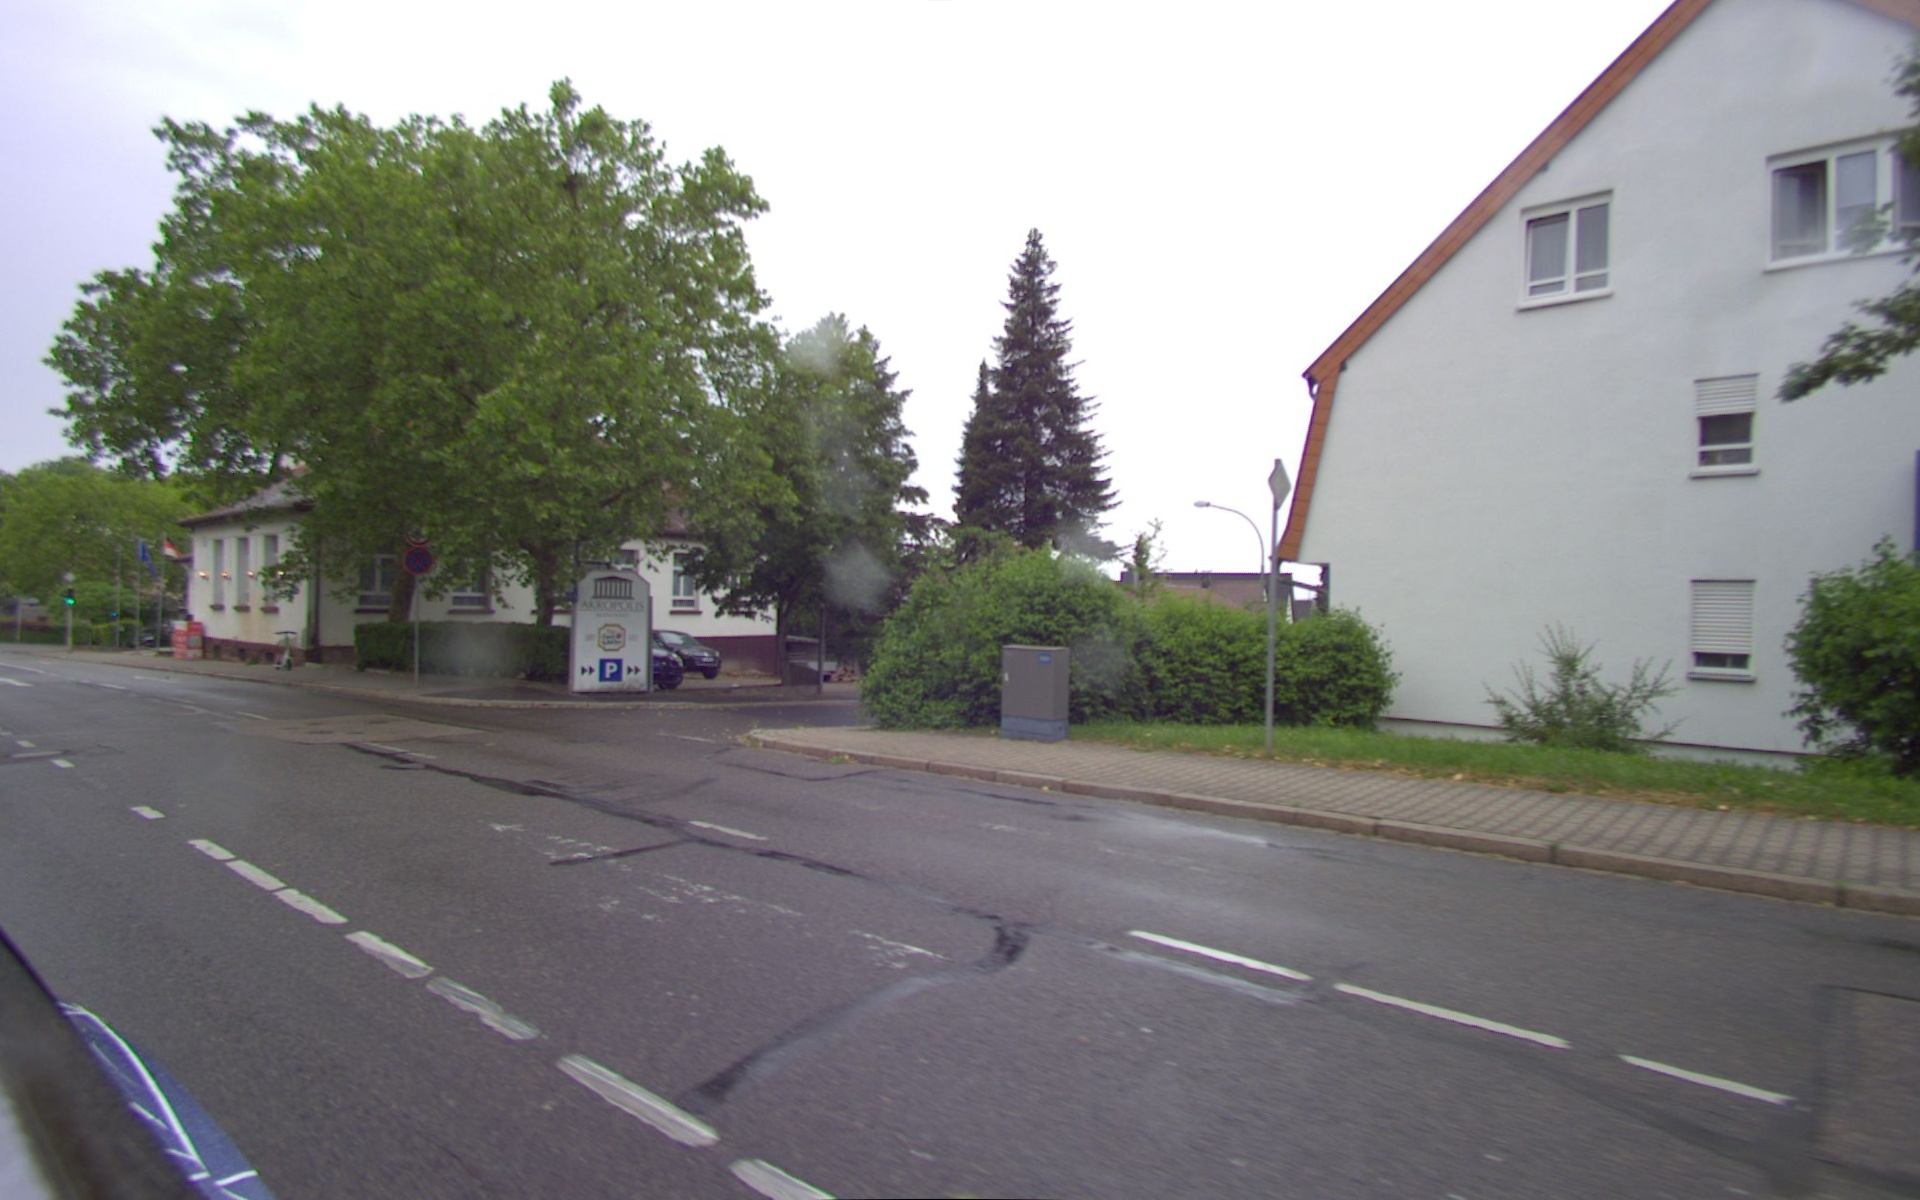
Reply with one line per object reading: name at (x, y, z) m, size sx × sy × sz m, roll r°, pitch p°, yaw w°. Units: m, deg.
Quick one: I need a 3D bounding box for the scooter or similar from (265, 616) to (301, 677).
scooter or similar at (-20.213, 1.364, 30.201) m, size 1.510 × 1.788 × 0.397 m, roll 0°, pitch -1°, yaw 36°

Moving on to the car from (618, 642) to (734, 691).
car at (-10.456, 2.409, 37.118) m, size 4.252 × 1.698 × 1.974 m, roll -2°, pitch -4°, yaw 38°

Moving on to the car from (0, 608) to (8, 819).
car at (-9.567, 0.922, 8.213) m, size 4.139 × 1.608 × 1.976 m, roll -2°, pitch -1°, yaw 36°
